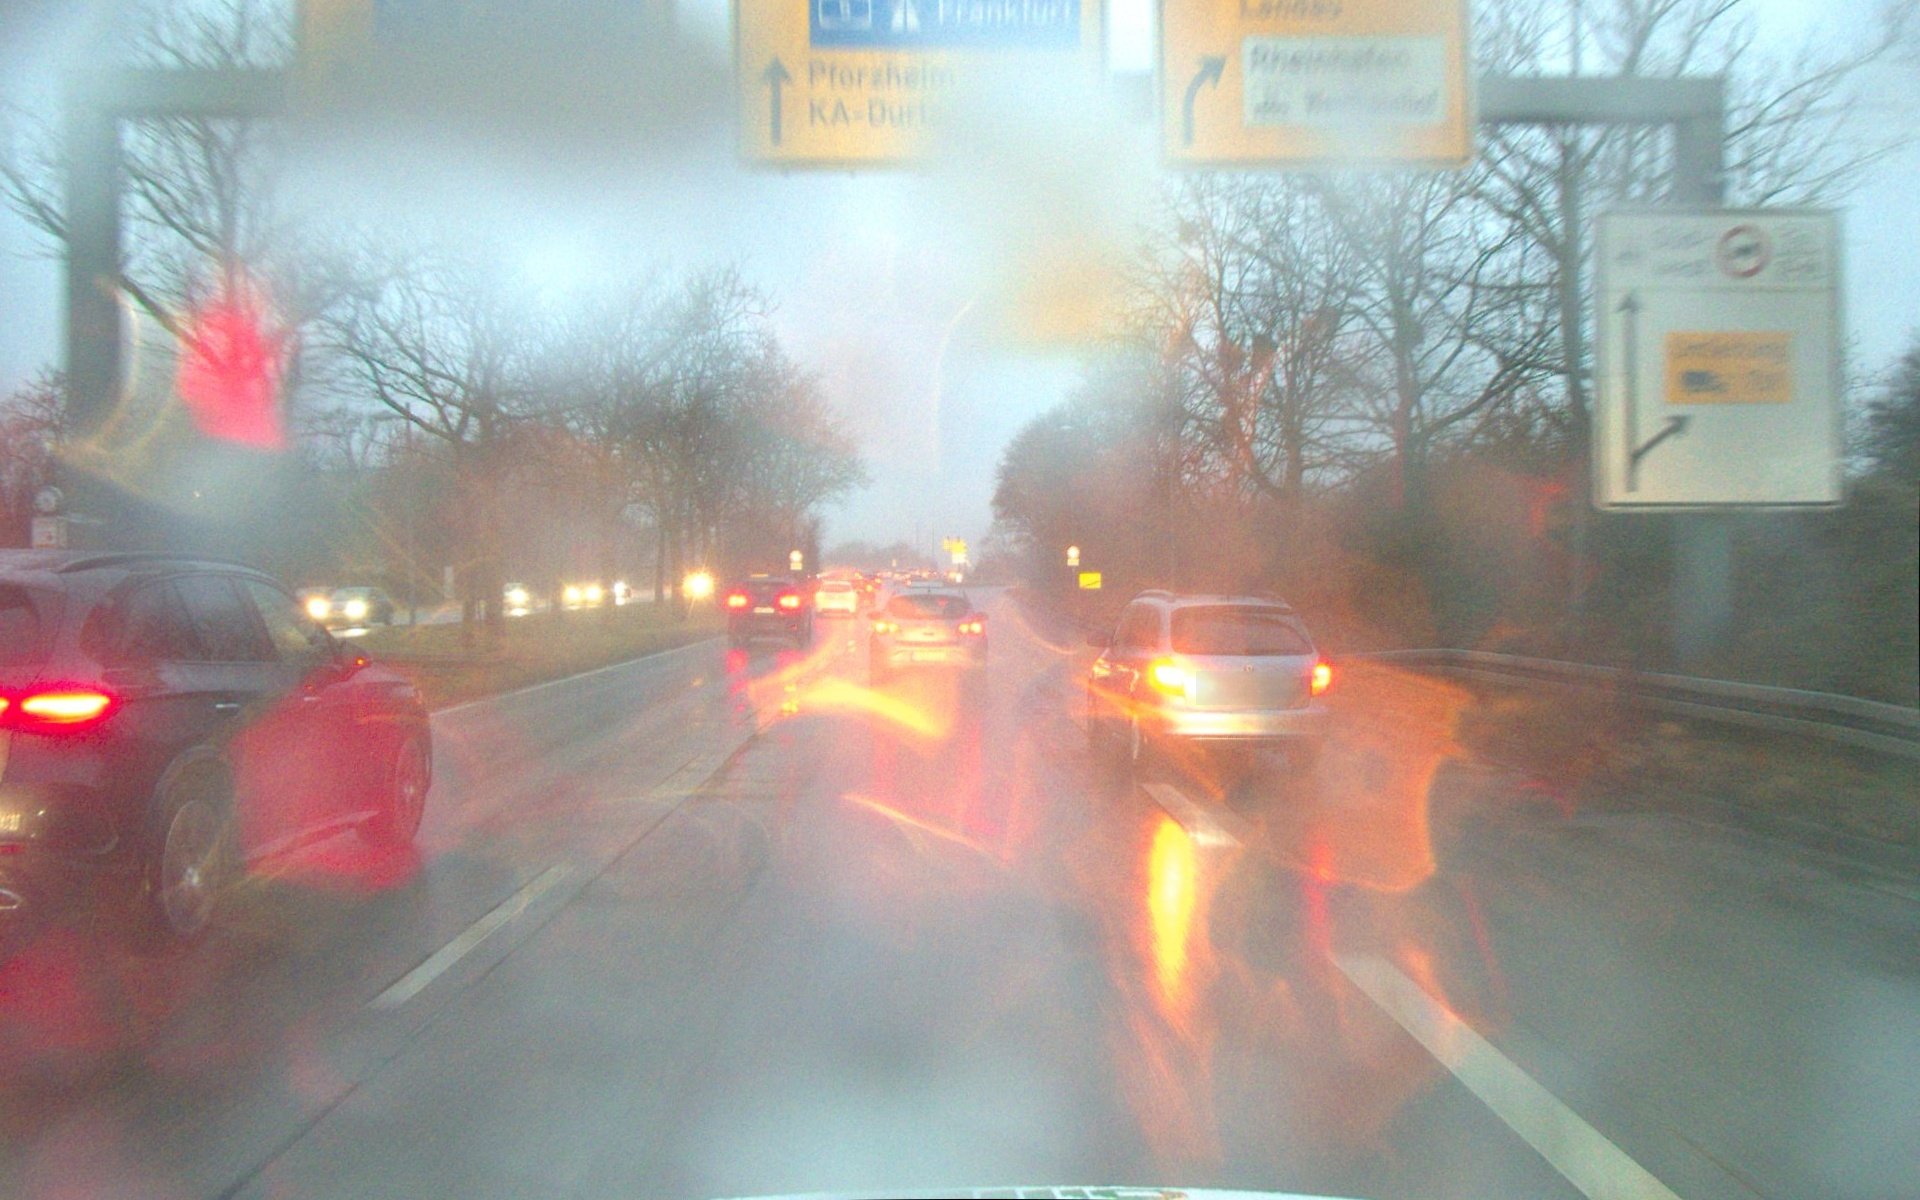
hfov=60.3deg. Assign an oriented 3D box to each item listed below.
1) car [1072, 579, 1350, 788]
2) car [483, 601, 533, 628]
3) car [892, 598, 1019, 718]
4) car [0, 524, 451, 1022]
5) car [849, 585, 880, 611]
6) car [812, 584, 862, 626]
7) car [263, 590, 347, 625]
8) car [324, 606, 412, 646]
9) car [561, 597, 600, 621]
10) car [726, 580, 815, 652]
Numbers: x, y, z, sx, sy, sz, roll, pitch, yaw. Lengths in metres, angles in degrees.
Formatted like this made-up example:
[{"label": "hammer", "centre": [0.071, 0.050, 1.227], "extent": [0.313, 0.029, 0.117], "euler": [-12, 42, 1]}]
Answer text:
[{"label": "car", "centre": [2.207, 0.705, 15.745], "extent": [1.894, 1.677, 4.465], "euler": [1, -1, -1]}, {"label": "car", "centre": [-26.055, 0.841, 95.401], "extent": [1.716, 1.508, 4.197], "euler": [0, 0, 0]}, {"label": "car", "centre": [-0.096, 0.845, 25.751], "extent": [1.785, 1.677, 4.465], "euler": [1, -1, -1]}, {"label": "car", "centre": [-3.896, 0.594, 7.772], "extent": [1.786, 1.677, 4.464], "euler": [-1, 0, -3]}, {"label": "car", "centre": [-5.119, -0.096, 89.244], "extent": [1.474, 1.362, 3.999], "euler": [-1, 0, -1]}, {"label": "car", "centre": [-5.042, 0.200, 68.282], "extent": [1.785, 1.677, 3.999], "euler": [-1, 0, -1]}, {"label": "car", "centre": [-25.942, 0.276, 65.668], "extent": [1.716, 1.331, 4.314], "euler": [0, 0, -2]}, {"label": "car", "centre": [-21.130, 0.915, 59.205], "extent": [1.716, 1.331, 4.314], "euler": [0, 0, -2]}, {"label": "car", "centre": [-22.345, 0.497, 97.511], "extent": [1.605, 1.363, 3.997], "euler": [1, 0, -4]}, {"label": "car", "centre": [-4.627, 0.375, 40.946], "extent": [1.785, 1.677, 3.999], "euler": [-1, 0, -1]}]
